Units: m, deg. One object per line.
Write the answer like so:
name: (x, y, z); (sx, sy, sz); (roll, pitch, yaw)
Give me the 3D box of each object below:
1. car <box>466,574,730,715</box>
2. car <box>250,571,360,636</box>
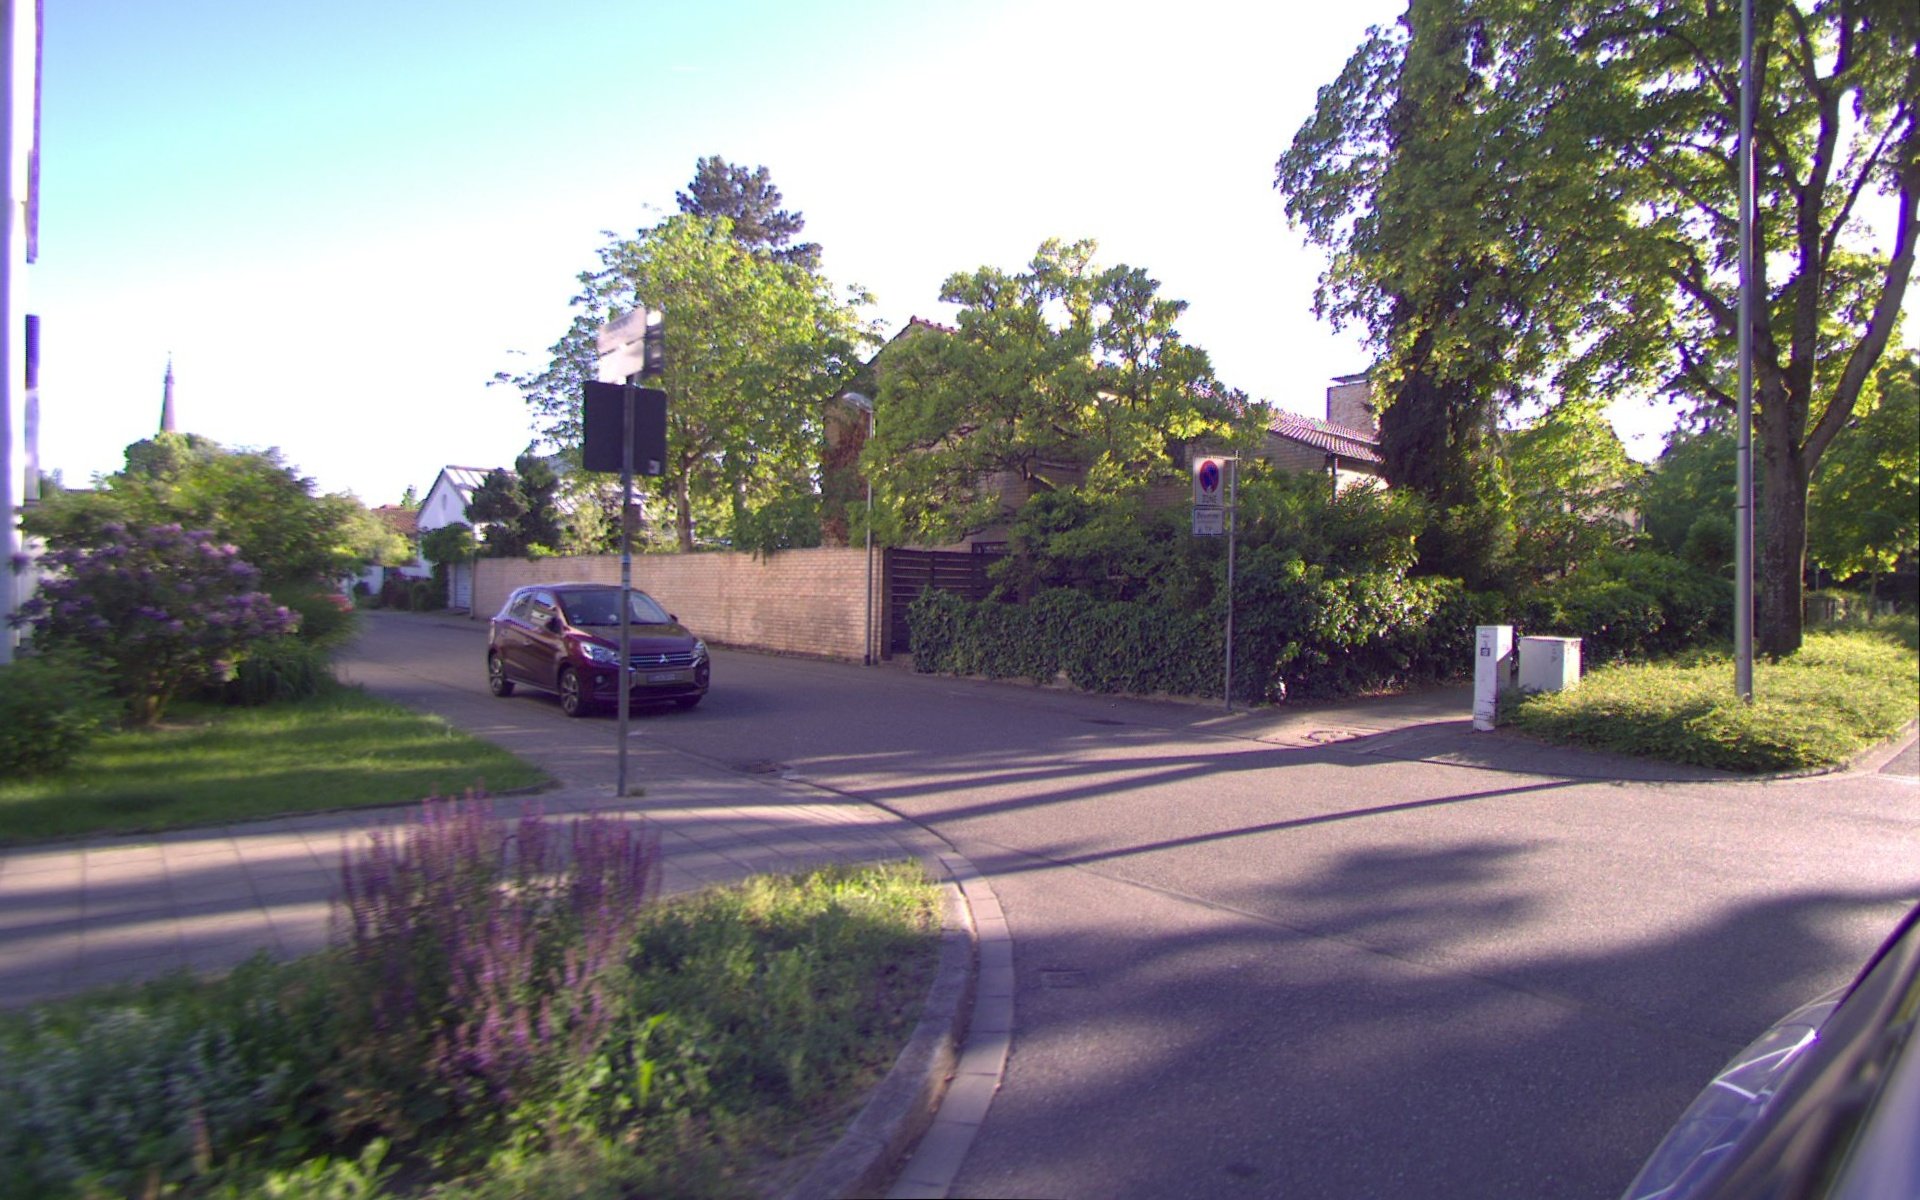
car: (-4.667, 0.464, 12.791); (3.732, 1.520, 1.664); (1, 0, 44)
car: (-17.978, 0.060, 27.693); (1.919, 1.643, 4.046); (-1, 1, -42)
